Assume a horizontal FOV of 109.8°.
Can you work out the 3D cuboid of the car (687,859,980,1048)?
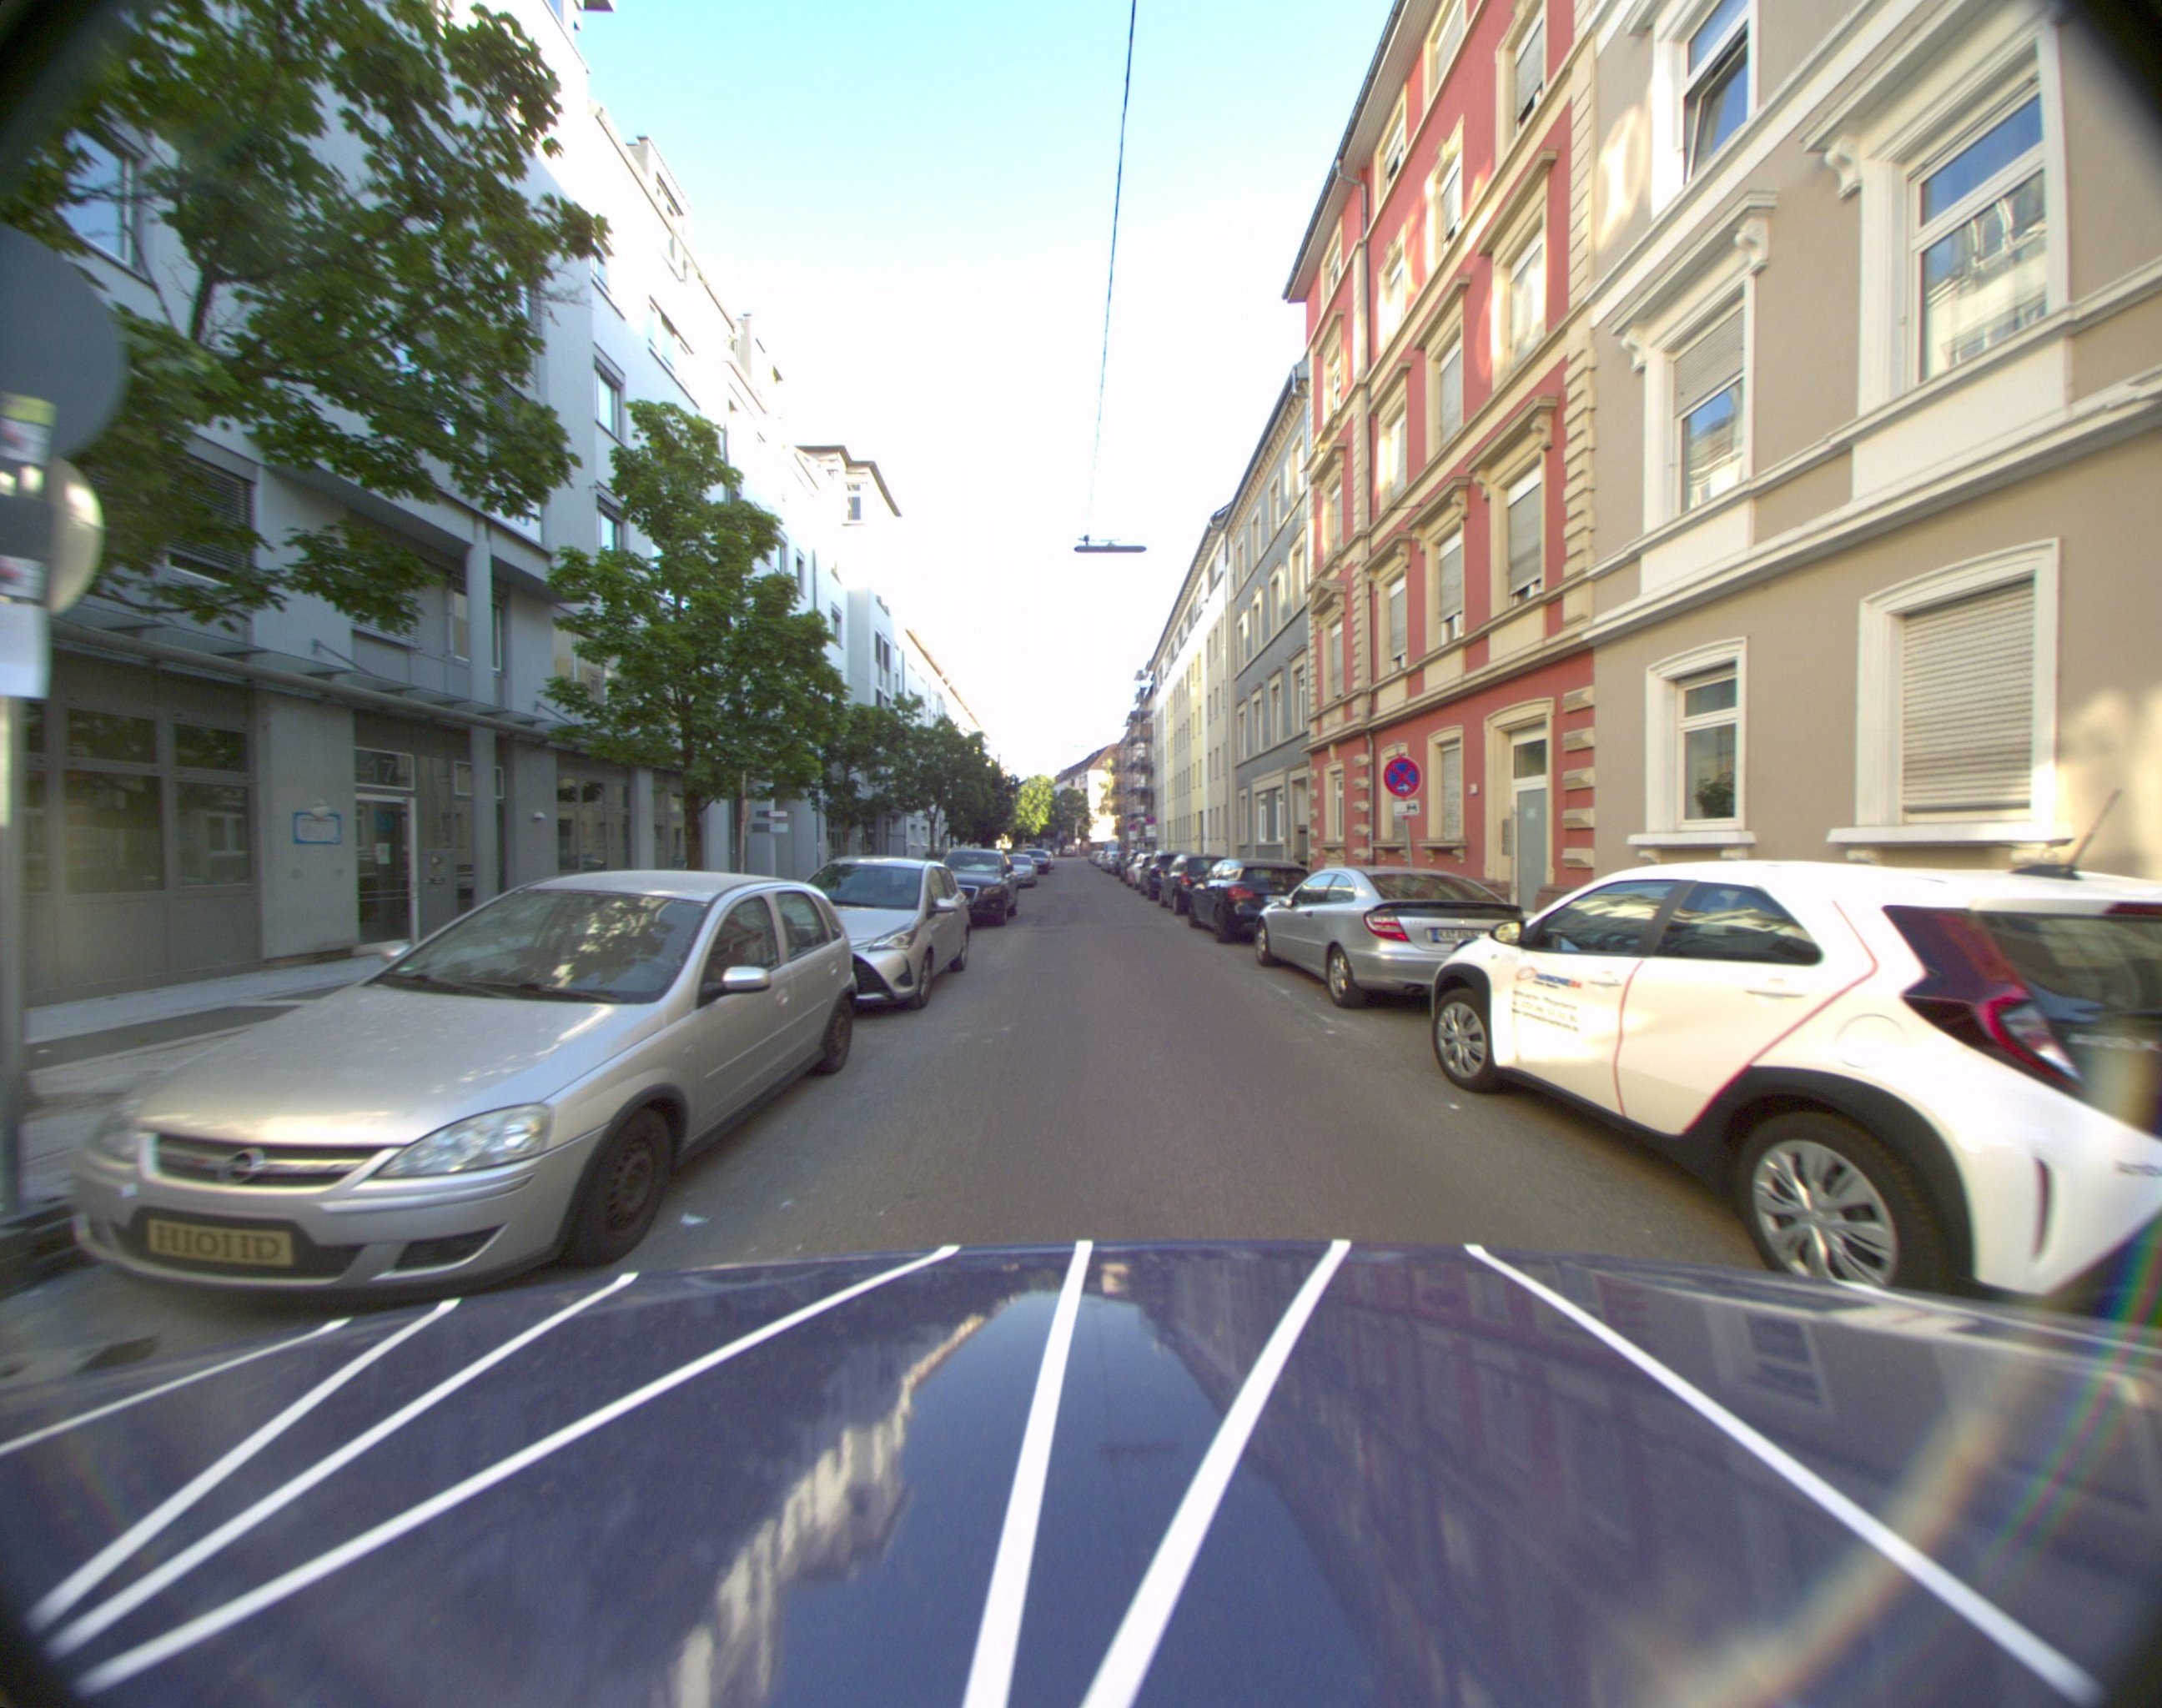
[{"bbox_3d":[-2.463,0.902,8.743,1.912,1.576,4.000,-1,1,2],"label":"car"}]

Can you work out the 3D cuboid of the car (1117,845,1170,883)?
[{"bbox_3d":[2.899,0.423,36.210,1.999,1.640,4.492,-1,1,-2],"label":"car"}]

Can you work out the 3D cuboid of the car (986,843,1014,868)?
[{"bbox_3d":[-6.700,0.082,63.040,1.999,2.002,3.999,-1,1,-2],"label":"car"}]

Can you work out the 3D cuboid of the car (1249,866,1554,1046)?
[{"bbox_3d":[3.232,0.926,8.604,1.614,1.420,3.961,2,1,-2],"label":"car"}]

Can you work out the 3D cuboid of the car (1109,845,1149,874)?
[{"bbox_3d":[2.862,0.298,46.129,1.999,1.576,4.492,-1,1,-2],"label":"car"}]

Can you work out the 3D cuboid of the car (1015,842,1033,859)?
[{"bbox_3d":[-6.706,-0.430,89.750,1.999,2.002,3.999,-1,1,-2],"label":"car"}]

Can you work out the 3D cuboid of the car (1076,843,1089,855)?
[{"bbox_3d":[0.190,-0.730,117.443,1.999,1.783,3.999,-1,1,-1],"label":"car"}]

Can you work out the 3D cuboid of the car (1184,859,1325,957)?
[{"bbox_3d":[3.022,0.869,14.026,1.589,1.407,3.911,3,1,-1],"label":"car"}]

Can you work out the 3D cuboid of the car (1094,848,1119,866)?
[{"bbox_3d":[2.370,0.266,70.992,1.999,1.576,4.492,-1,1,-2],"label":"car"}]

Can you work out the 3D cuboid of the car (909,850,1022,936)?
[{"bbox_3d":[-2.533,0.792,17.696,1.863,1.679,4.390,-1,1,1],"label":"car"}]

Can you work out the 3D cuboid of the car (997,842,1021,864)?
[{"bbox_3d":[-6.803,-0.079,72.538,1.999,2.002,3.999,-1,1,-2],"label":"car"}]

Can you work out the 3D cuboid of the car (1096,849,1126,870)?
[{"bbox_3d":[2.186,0.369,56.112,1.999,1.437,3.999,-1,1,-1],"label":"car"}]

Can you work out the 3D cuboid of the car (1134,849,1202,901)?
[{"bbox_3d":[2.790,0.621,25.160,1.598,1.514,4.428,-1,1,-1],"label":"car"}]

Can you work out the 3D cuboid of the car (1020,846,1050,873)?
[{"bbox_3d":[-3.014,0.324,50.418,1.856,1.649,3.998,-1,1,-3],"label":"car"}]

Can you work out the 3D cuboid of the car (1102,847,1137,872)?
[{"bbox_3d":[2.531,0.335,50.826,1.999,1.567,4.148,-1,1,-1],"label":"car"}]

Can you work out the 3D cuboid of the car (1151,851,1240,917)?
[{"bbox_3d":[2.916,0.709,20.152,1.537,1.490,4.194,1,1,-2],"label":"car"}]

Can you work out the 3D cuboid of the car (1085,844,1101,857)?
[{"bbox_3d":[1.605,-0.491,103.774,1.999,1.783,3.999,-1,1,-1],"label":"car"}]

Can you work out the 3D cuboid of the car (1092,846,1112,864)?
[{"bbox_3d":[2.210,0.073,81.239,1.999,1.783,3.999,-1,1,-1],"label":"car"}]

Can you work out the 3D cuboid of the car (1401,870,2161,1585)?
[{"bbox_3d":[3.200,0.935,3.640,1.688,1.487,3.843,3,1,1],"label":"car"}]

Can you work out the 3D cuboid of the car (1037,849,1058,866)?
[{"bbox_3d":[-3.121,0.291,70.635,1.856,1.480,3.999,-1,1,-2],"label":"car"}]

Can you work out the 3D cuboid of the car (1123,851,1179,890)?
[{"bbox_3d":[2.795,0.613,31.095,1.662,1.421,4.351,-1,1,-3],"label":"car"}]

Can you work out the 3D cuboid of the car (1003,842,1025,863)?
[{"bbox_3d":[-6.789,-0.205,77.027,1.999,2.002,3.999,-1,1,-2],"label":"car"}]

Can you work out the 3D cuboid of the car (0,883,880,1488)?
[{"bbox_3d":[-2.514,0.993,4.100,1.638,1.439,4.066,-1,1,2],"label":"car"}]

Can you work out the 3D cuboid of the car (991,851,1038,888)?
[{"bbox_3d":[-2.917,0.648,33.939,1.856,1.480,3.999,-1,1,-2],"label":"car"}]

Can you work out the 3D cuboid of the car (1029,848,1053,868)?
[{"bbox_3d":[-3.255,0.321,62.877,1.903,1.510,4.222,-1,1,-2],"label":"car"}]

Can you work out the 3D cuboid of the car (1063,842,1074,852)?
[{"bbox_3d":[-2.204,-1.200,133.613,1.999,1.783,3.999,-1,1,-1],"label":"car"}]
